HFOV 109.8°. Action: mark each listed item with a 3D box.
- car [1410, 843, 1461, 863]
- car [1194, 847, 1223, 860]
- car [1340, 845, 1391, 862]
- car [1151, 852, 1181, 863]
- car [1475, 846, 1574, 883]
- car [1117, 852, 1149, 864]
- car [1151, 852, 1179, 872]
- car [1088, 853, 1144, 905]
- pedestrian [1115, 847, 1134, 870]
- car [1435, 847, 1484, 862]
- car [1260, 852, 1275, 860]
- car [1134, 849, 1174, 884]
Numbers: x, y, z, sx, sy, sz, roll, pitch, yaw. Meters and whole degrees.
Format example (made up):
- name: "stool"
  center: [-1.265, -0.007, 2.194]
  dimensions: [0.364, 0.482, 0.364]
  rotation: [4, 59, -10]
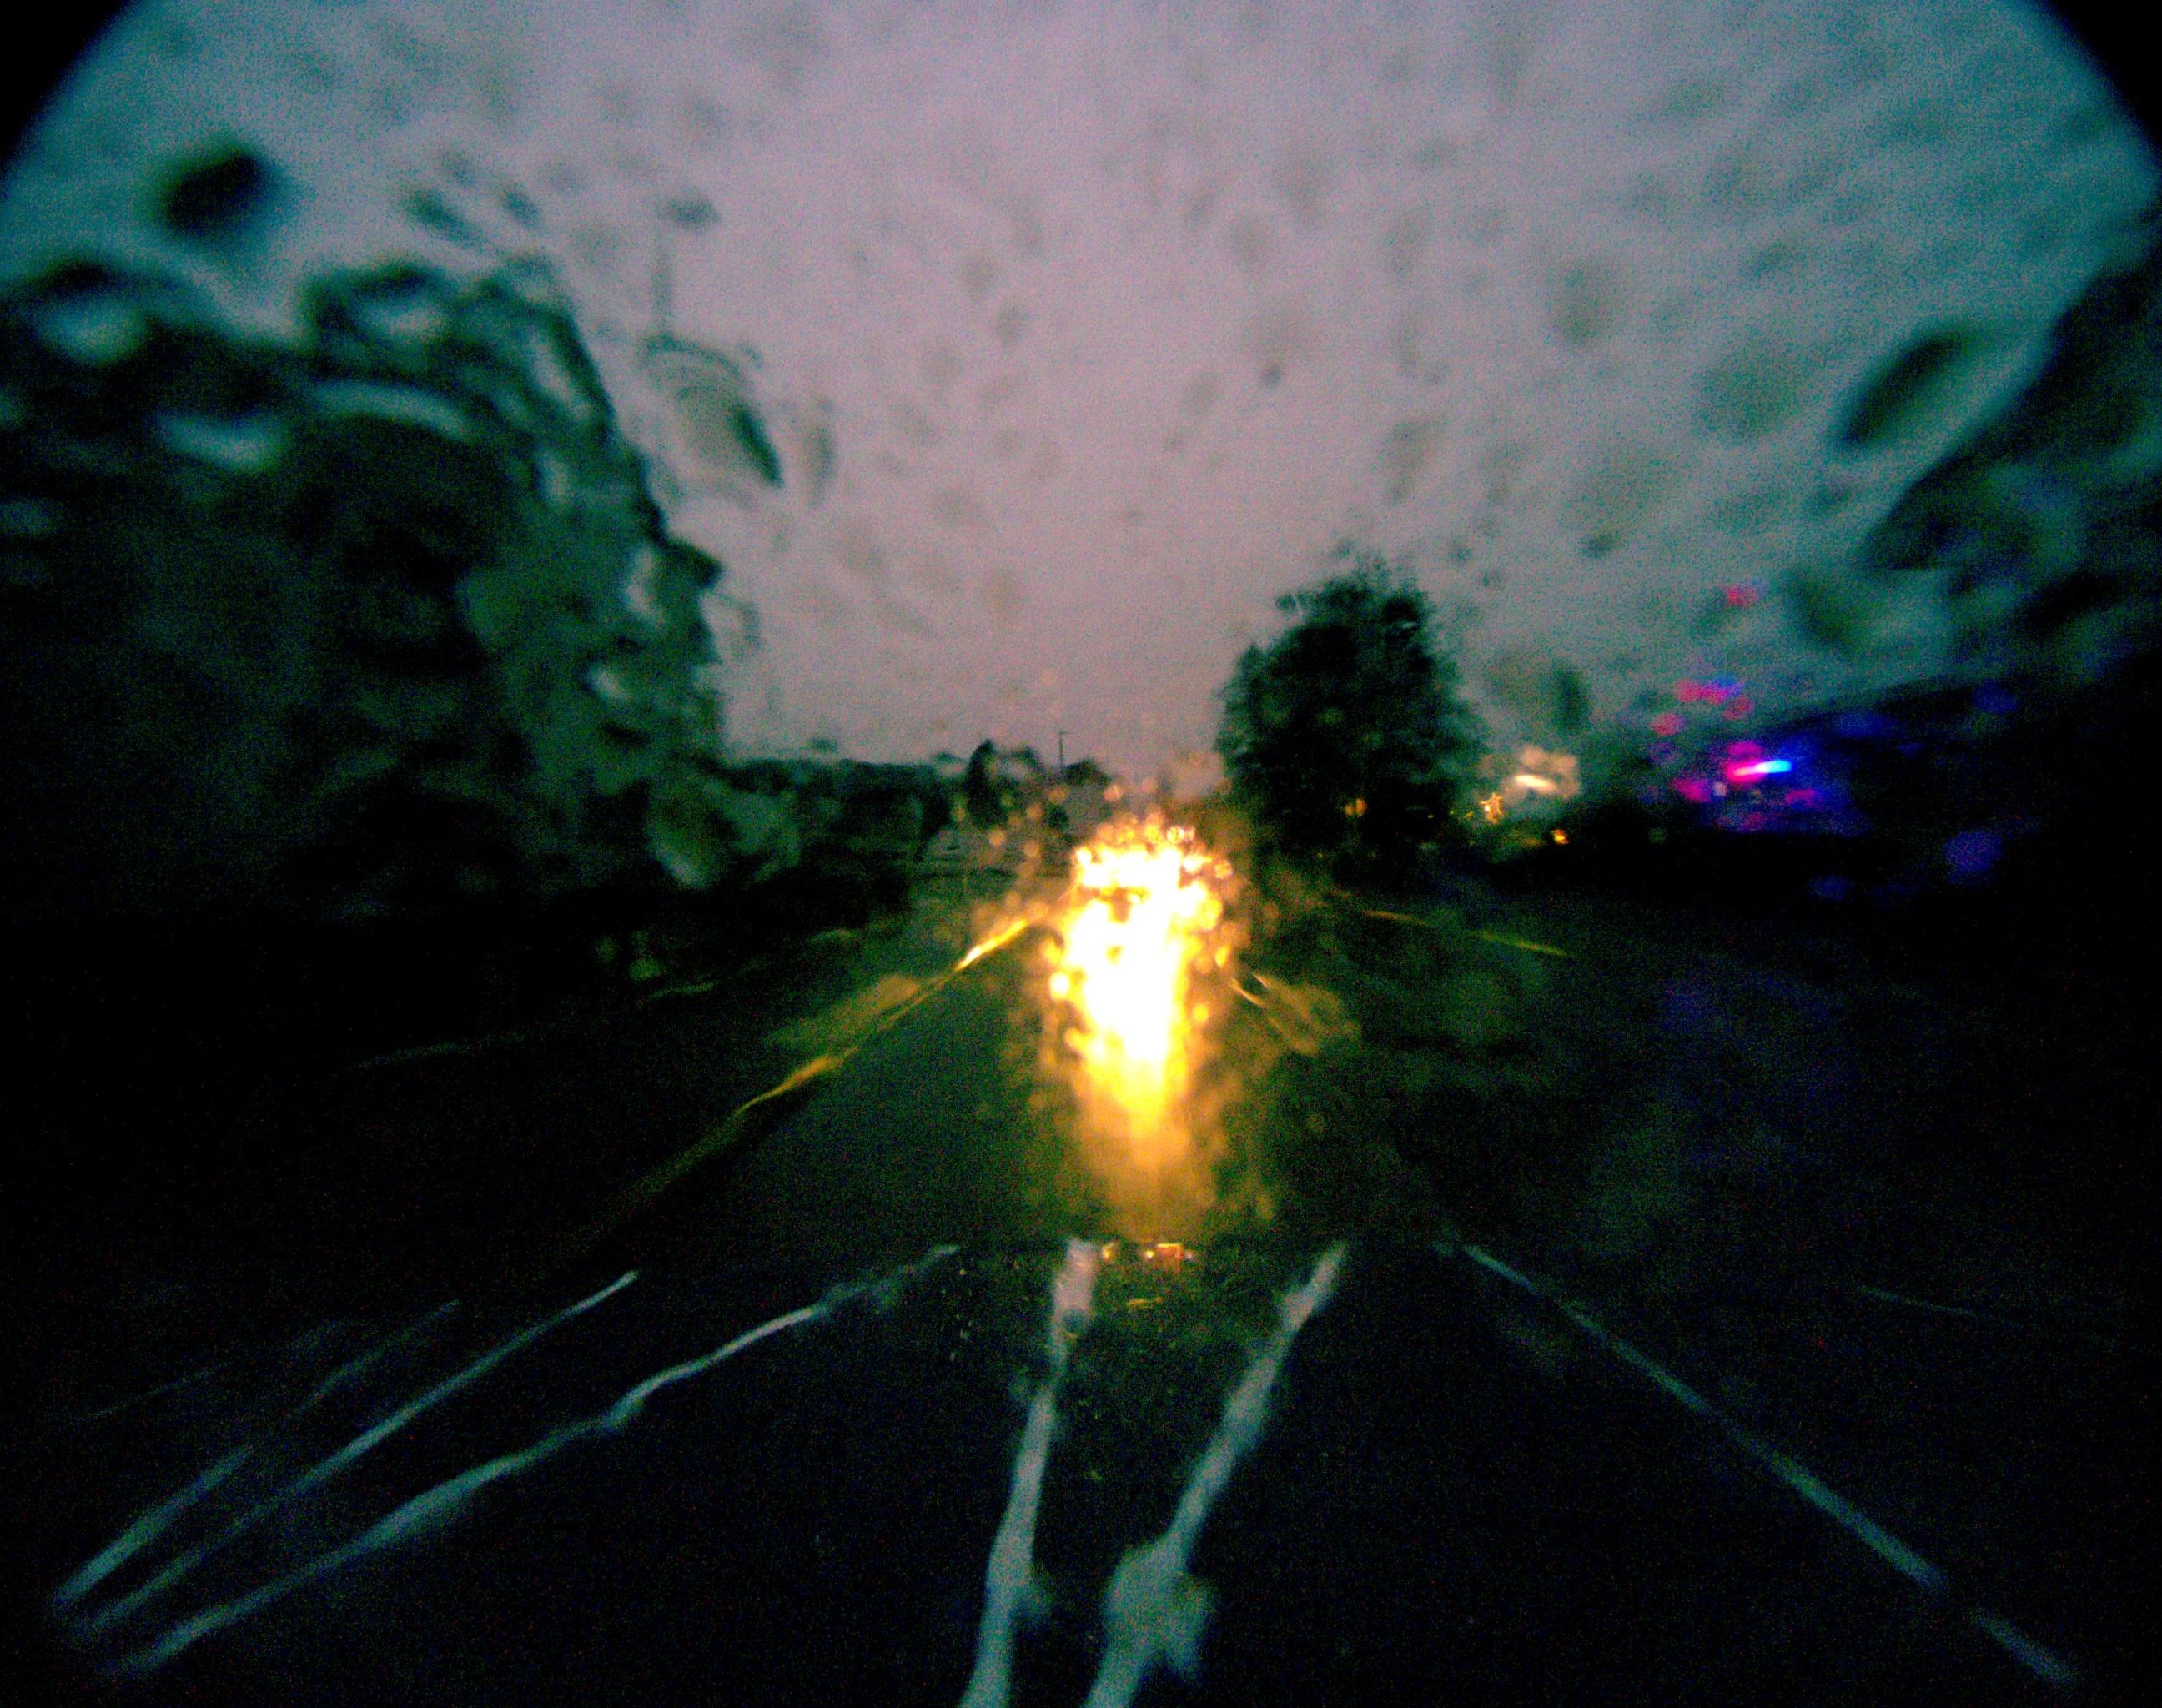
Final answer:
- name: "car"
  center: [43.235, -0.130, 92.711]
  dimensions: [5.196, 2.269, 2.220]
  rotation: [1, 0, 4]
- name: "car"
  center: [17.205, -0.083, 102.689]
  dimensions: [1.779, 1.713, 4.413]
  rotation: [-1, 0, -22]
- name: "car"
  center: [30.587, -0.056, 81.834]
  dimensions: [4.781, 1.701, 2.034]
  rotation: [-1, 0, 3]
- name: "car"
  center: [12.000, 0.450, 106.977]
  dimensions: [4.035, 1.486, 1.779]
  rotation: [-1, 0, 13]
- name: "car"
  center: [26.702, 0.641, 45.822]
  dimensions: [4.658, 1.965, 2.128]
  rotation: [-2, -1, -1]
- name: "car"
  center: [7.034, 0.503, 102.906]
  dimensions: [4.178, 1.432, 1.799]
  rotation: [-3, -1, 10]
- name: "car"
  center: [6.849, 0.637, 61.700]
  dimensions: [1.997, 1.464, 4.003]
  rotation: [-1, 0, 9]
- name: "car"
  center: [1.300, 0.813, 26.682]
  dimensions: [1.775, 1.632, 4.423]
  rotation: [-1, 0, 4]
- name: "pedestrian"
  center: [3.544, 0.367, 61.854]
  dimensions: [1.256, 1.855, 1.304]
  rotation: [1, 1, 13]
- name: "car"
  center: [42.584, 0.045, 85.597]
  dimensions: [4.439, 1.554, 2.056]
  rotation: [1, 0, 4]
- name: "car"
  center: [33.342, 0.314, 135.841]
  dimensions: [1.773, 1.422, 3.804]
  rotation: [-2, -1, 29]
- name: "car"
  center: [4.010, 0.617, 41.099]
  dimensions: [1.897, 1.689, 4.242]
  rotation: [-3, 0, 8]
